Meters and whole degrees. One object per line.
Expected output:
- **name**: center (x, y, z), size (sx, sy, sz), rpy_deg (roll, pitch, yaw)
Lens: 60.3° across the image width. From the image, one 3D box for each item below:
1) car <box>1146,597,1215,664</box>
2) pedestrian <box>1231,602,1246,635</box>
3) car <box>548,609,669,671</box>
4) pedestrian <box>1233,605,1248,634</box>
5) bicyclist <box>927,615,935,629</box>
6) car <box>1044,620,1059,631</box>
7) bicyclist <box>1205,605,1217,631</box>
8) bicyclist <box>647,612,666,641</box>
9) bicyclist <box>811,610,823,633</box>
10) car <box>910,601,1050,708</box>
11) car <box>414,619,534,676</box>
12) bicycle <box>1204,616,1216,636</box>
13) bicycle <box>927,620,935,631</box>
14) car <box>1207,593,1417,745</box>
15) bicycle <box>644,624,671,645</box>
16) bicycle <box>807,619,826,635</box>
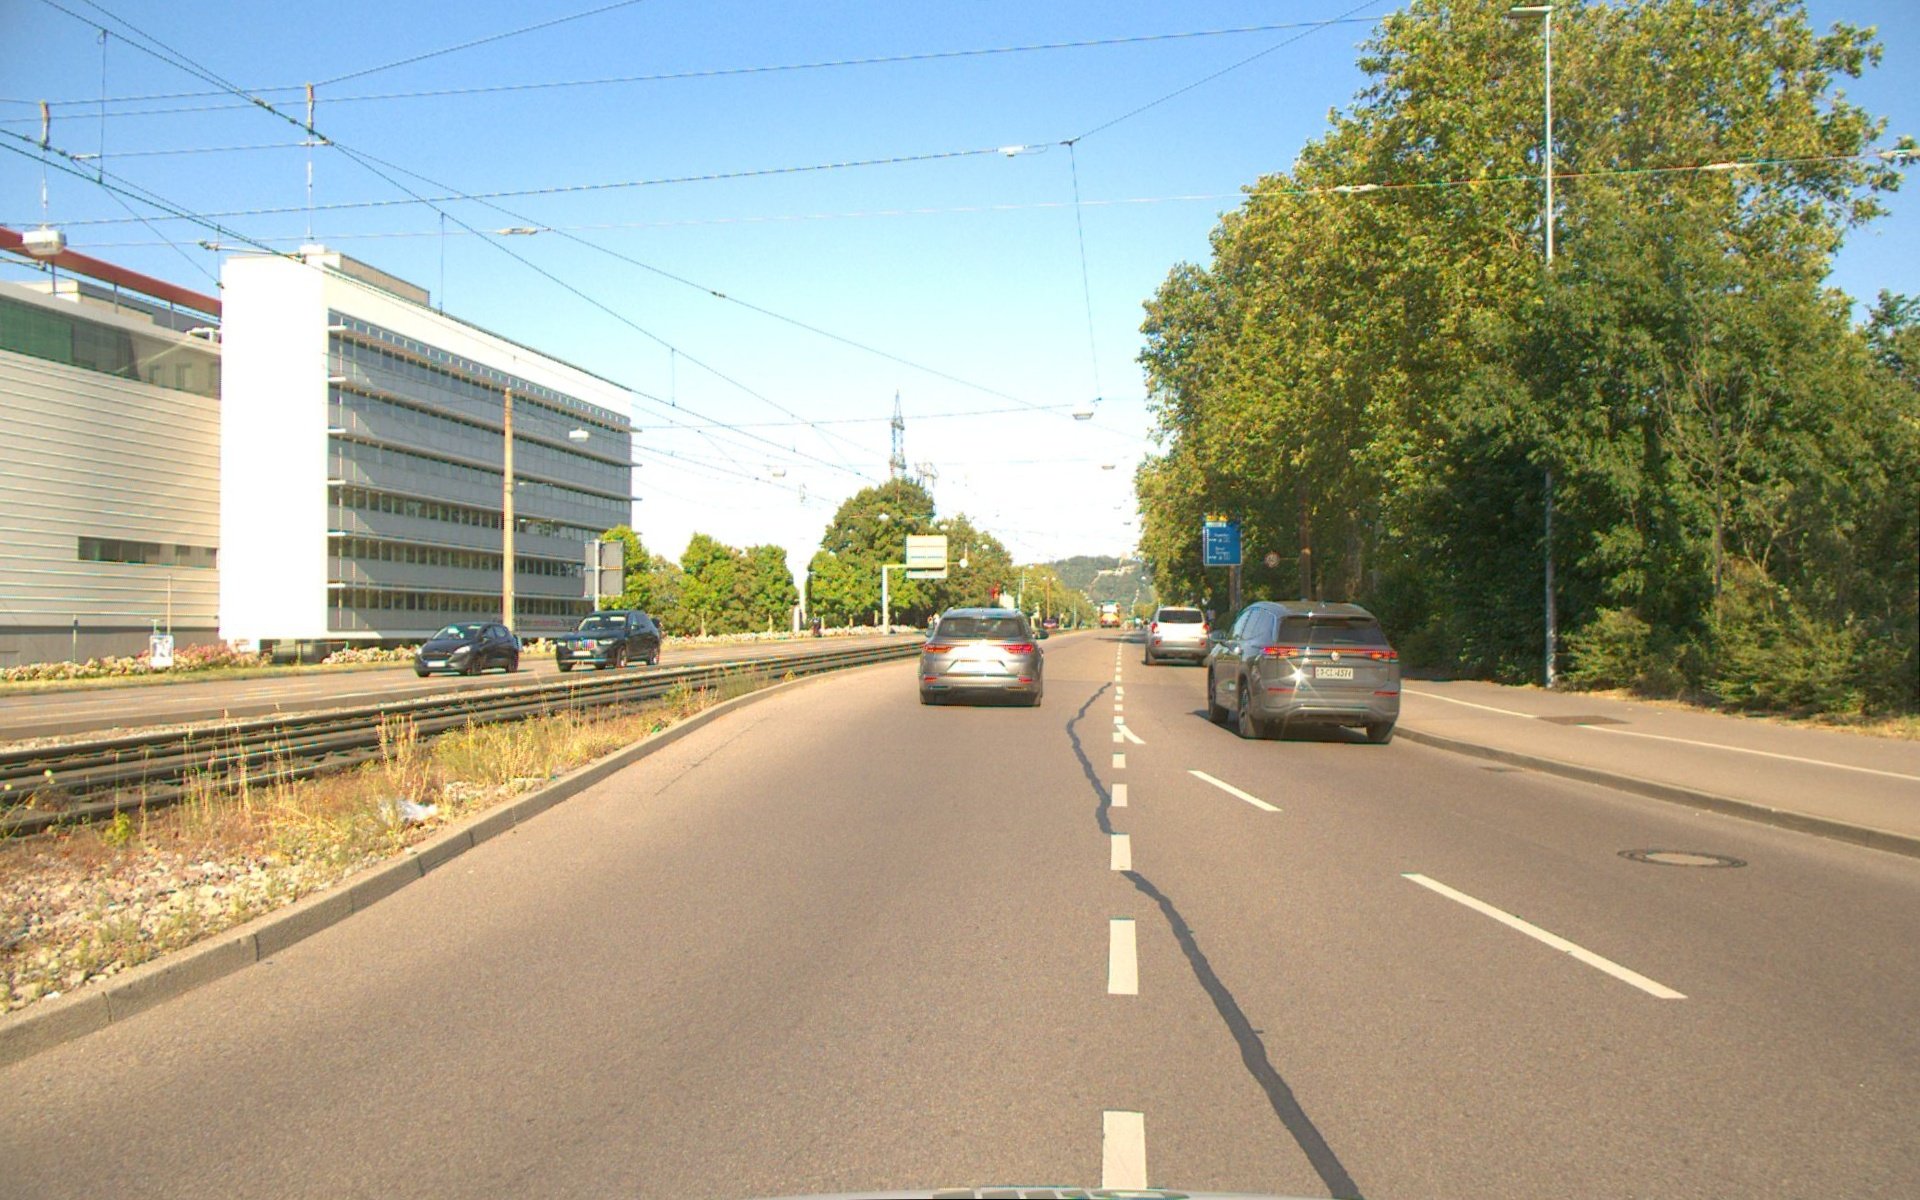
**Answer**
- **car**: center (6.393, 0.855, 48.372), size (1.843, 1.827, 4.003), rpy_deg (2, 0, 6)
- **pedestrian**: center (14.847, 1.003, 88.262), size (0.707, 1.737, 0.813), rpy_deg (-1, -1, 6)
- **car**: center (-10.086, 1.116, 47.875), size (1.951, 1.684, 4.662), rpy_deg (-1, 0, 7)
- **pedestrian**: center (14.736, 1.037, 86.835), size (0.708, 1.506, 0.722), rpy_deg (-1, -1, 6)
- **bicyclist**: center (-2.977, 2.239, 170.849), size (0.611, 1.398, 0.881), rpy_deg (2, 0, 7)
- **car**: center (14.191, 3.960, 256.245), size (1.996, 1.529, 4.891), rpy_deg (-1, 0, 7)
- **bicyclist**: center (14.613, 1.062, 96.428), size (0.671, 1.535, 0.891), rpy_deg (0, -1, 7)
- **bicyclist**: center (-16.841, 1.470, 91.744), size (0.690, 1.539, 0.971), rpy_deg (2, 0, 14)
- **bicyclist**: center (-10.666, 1.606, 123.278), size (0.647, 1.652, 0.801), rpy_deg (2, 0, 16)
- **car**: center (0.414, 0.796, 26.073), size (1.826, 1.493, 4.668), rpy_deg (1, 0, 5)
- **car**: center (-13.554, 1.289, 46.355), size (1.817, 1.486, 4.140), rpy_deg (-1, 0, 5)
- **bicycle**: center (14.599, 1.522, 96.446), size (0.609, 1.140, 1.814), rpy_deg (-1, -1, 6)
- **bicycle**: center (-2.983, 2.622, 170.841), size (0.611, 1.077, 1.705), rpy_deg (2, 0, 7)
- **car**: center (4.315, 0.787, 20.946), size (1.806, 1.690, 4.440), rpy_deg (1, 0, 1)
- **bicycle**: center (-16.815, 1.918, 91.908), size (0.690, 1.092, 2.029), rpy_deg (2, 0, 13)
- **bicycle**: center (-10.682, 2.024, 123.260), size (0.647, 1.171, 2.023), rpy_deg (2, 0, 16)
